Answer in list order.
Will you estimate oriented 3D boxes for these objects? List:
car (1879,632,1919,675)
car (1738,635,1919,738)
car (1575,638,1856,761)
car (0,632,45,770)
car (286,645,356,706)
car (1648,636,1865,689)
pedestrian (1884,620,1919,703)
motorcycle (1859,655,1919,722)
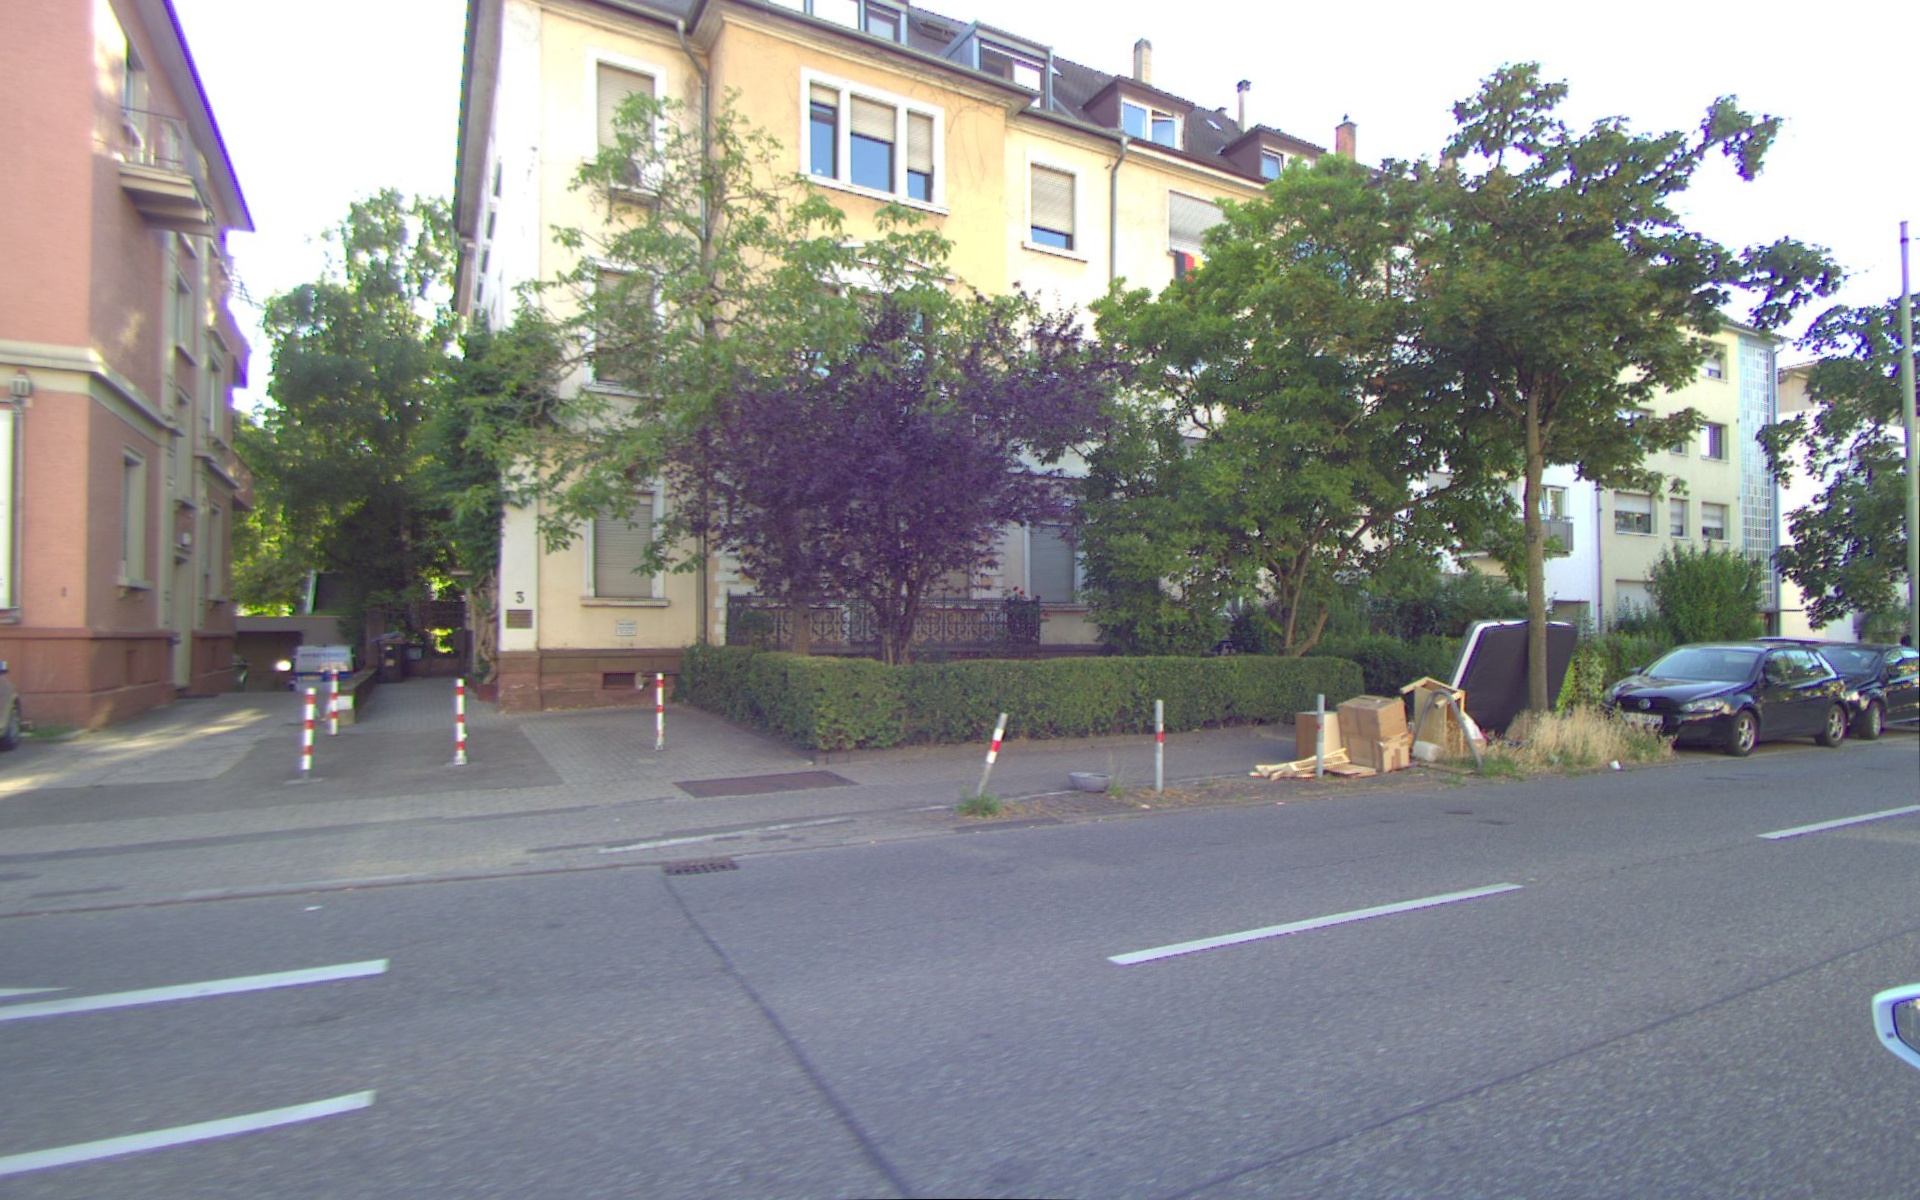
[{"bbox_3d":[35.352,1.920,35.425,1.978,1.498,3.965,1,-1,-32],"label":"car"},{"bbox_3d":[15.219,1.380,17.080,3.930,1.522,1.743,1,-2,-29],"label":"car"},{"bbox_3d":[11.009,1.333,14.596,4.146,1.522,1.743,1,-2,-29],"label":"car"},{"bbox_3d":[-11.365,1.103,10.691,1.796,1.505,3.478,1,-2,-32],"label":"car"},{"bbox_3d":[-20.556,2.371,32.363,1.796,1.785,3.955,1,-2,-32],"label":"car"},{"bbox_3d":[22.986,1.758,29.146,1.985,1.380,4.669,1,-2,-41],"label":"car"},{"bbox_3d":[23.861,1.520,25.161,0.964,2.040,0.764,0,-1,-30],"label":"pedestrian"},{"bbox_3d":[17.803,1.637,18.639,1.672,1.207,0.442,-1,-1,9],"label":"motorcycle"}]
